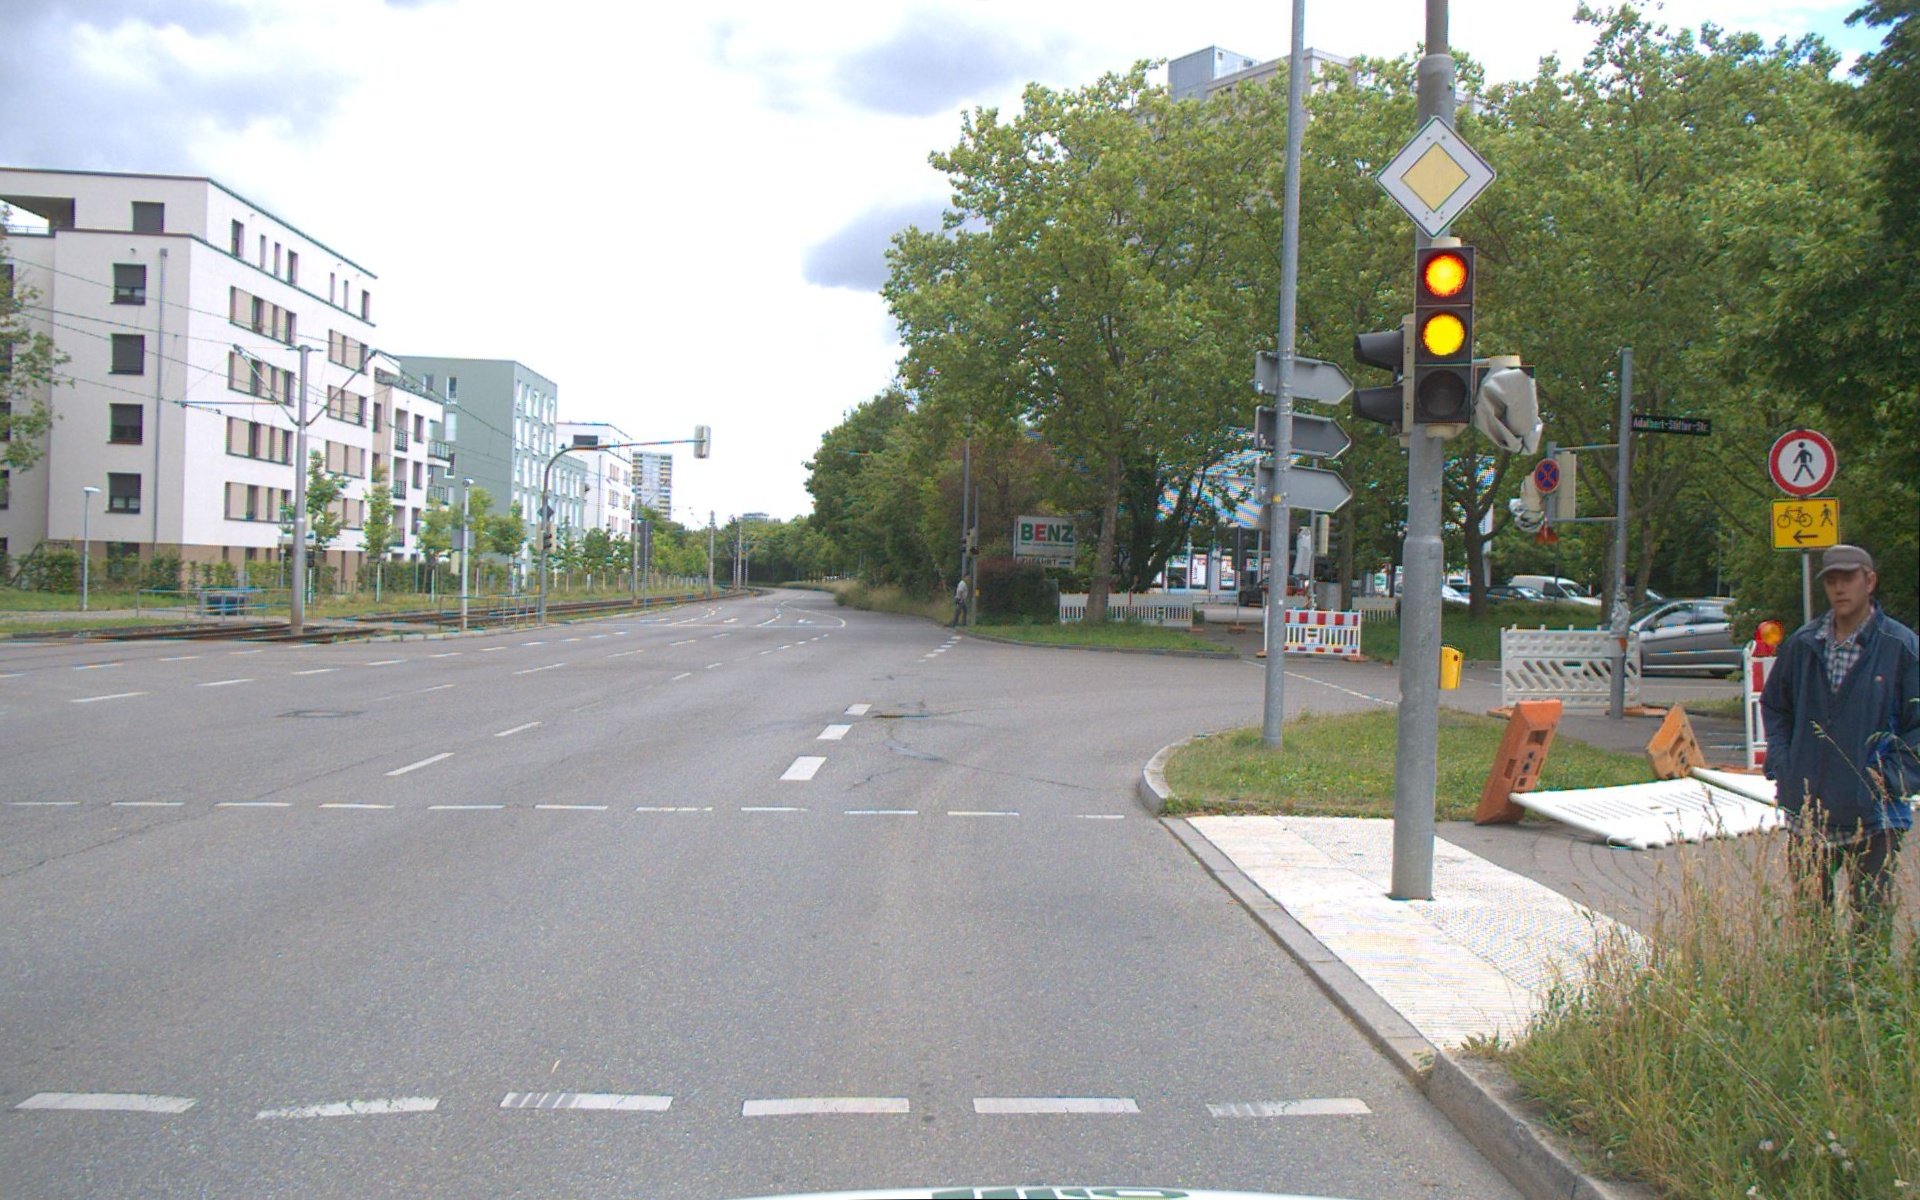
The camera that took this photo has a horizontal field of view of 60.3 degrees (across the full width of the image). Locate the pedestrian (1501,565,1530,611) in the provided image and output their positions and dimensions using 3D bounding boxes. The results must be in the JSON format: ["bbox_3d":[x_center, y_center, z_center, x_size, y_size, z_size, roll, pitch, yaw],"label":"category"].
[{"bbox_3d":[23.640,-0.508,70.420,1.049,1.904,1.060,1,-1,15],"label":"pedestrian"}]

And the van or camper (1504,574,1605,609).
[{"bbox_3d":[24.095,-0.339,67.106,1.499,1.380,3.732,1,0,-33],"label":"van or camper"}]

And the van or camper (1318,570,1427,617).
[{"bbox_3d":[15.489,-0.260,62.231,1.819,1.713,3.964,0,1,-28],"label":"van or camper"}]

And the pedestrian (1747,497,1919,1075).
[{"bbox_3d":[3.079,0.566,5.533,0.712,1.770,0.954,1,0,30],"label":"pedestrian"}]

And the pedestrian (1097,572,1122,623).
[{"bbox_3d":[4.512,-0.086,49.952,0.682,1.515,0.688,1,-1,8],"label":"pedestrian"}]

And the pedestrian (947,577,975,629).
[{"bbox_3d":[0.036,0.093,51.905,0.831,1.614,0.796,1,-1,2],"label":"pedestrian"}]

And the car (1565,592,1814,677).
[{"bbox_3d":[14.859,0.693,33.821,4.307,1.614,1.772,1,0,0],"label":"car"}]

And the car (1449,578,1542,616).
[{"bbox_3d":[21.095,-0.124,65.251,1.464,1.429,3.375,1,0,-30],"label":"car"}]

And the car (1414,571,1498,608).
[{"bbox_3d":[24.054,-0.504,80.249,1.650,1.663,3.783,1,1,-30],"label":"car"}]

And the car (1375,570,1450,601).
[{"bbox_3d":[21.469,-0.692,78.551,1.465,1.429,3.372,1,0,-31],"label":"car"}]

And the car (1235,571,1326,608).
[{"bbox_3d":[14.061,-0.449,72.727,1.708,1.526,4.232,1,0,-27],"label":"car"}]

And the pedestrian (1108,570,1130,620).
[{"bbox_3d":[4.982,-0.151,51.895,0.639,1.565,0.773,1,-1,7],"label":"pedestrian"}]

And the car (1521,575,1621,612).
[{"bbox_3d":[25.541,-0.254,69.247,1.465,1.491,3.851,1,0,-31],"label":"car"}]

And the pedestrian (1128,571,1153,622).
[{"bbox_3d":[5.434,-0.090,49.839,0.682,1.515,0.720,1,-1,2],"label":"pedestrian"}]

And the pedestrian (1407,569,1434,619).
[{"bbox_3d":[19.012,-0.231,68.286,0.788,2.037,0.853,1,-1,-3],"label":"pedestrian"}]
